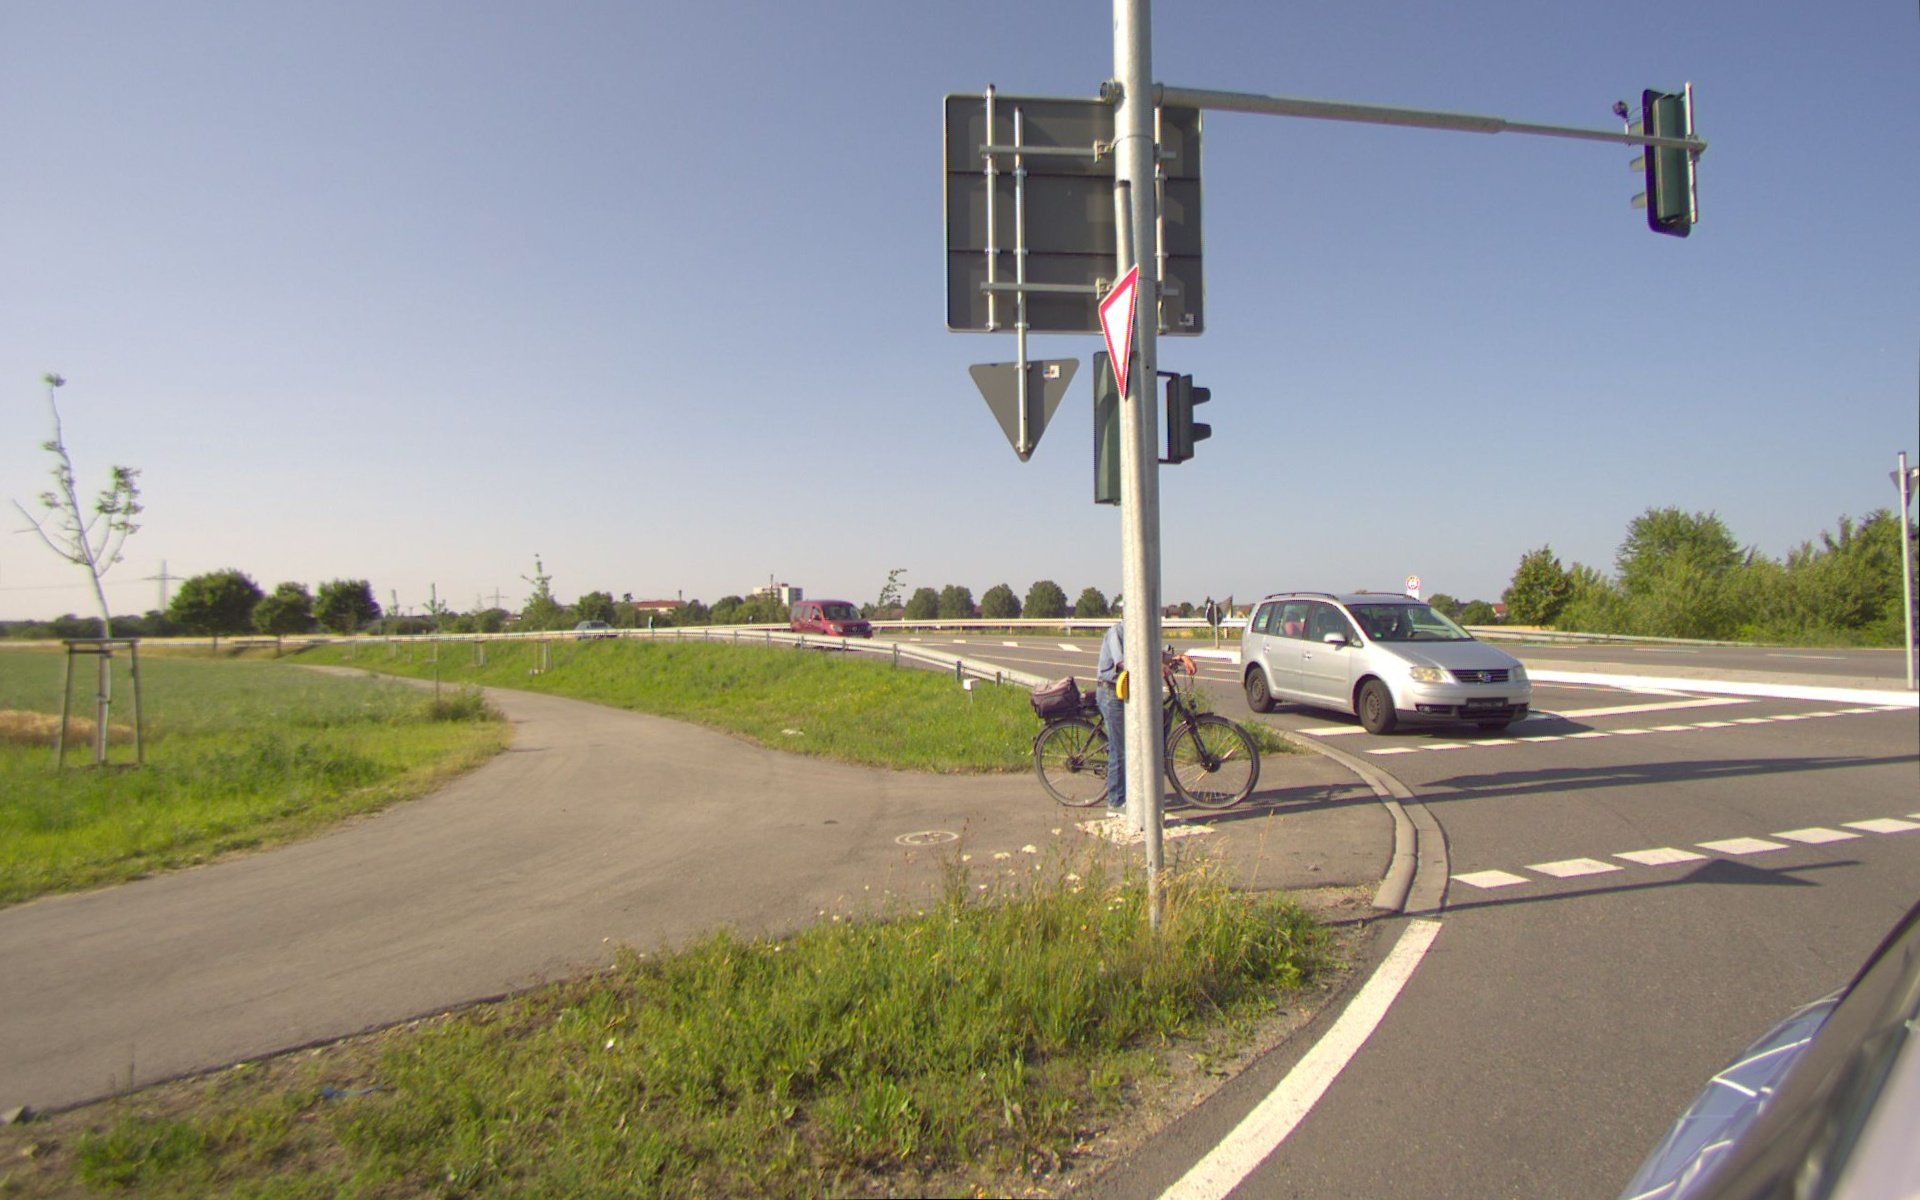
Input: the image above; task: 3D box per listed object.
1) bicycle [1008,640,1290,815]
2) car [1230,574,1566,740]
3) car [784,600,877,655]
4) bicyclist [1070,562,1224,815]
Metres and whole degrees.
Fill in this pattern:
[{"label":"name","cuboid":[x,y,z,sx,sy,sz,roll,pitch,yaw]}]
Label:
[{"label":"bicycle","cuboid":[1.414,0.954,7.642,1.923,1.166,0.676,-5,-1,24]},{"label":"car","cuboid":[5.268,0.617,12.898,1.720,1.716,4.222,-1,0,-13]},{"label":"car","cuboid":[-4.846,1.001,37.275,1.660,1.861,4.702,0,-1,-30]},{"label":"bicyclist","cuboid":[1.419,0.652,7.637,0.907,1.788,0.615,-5,-2,24]}]
